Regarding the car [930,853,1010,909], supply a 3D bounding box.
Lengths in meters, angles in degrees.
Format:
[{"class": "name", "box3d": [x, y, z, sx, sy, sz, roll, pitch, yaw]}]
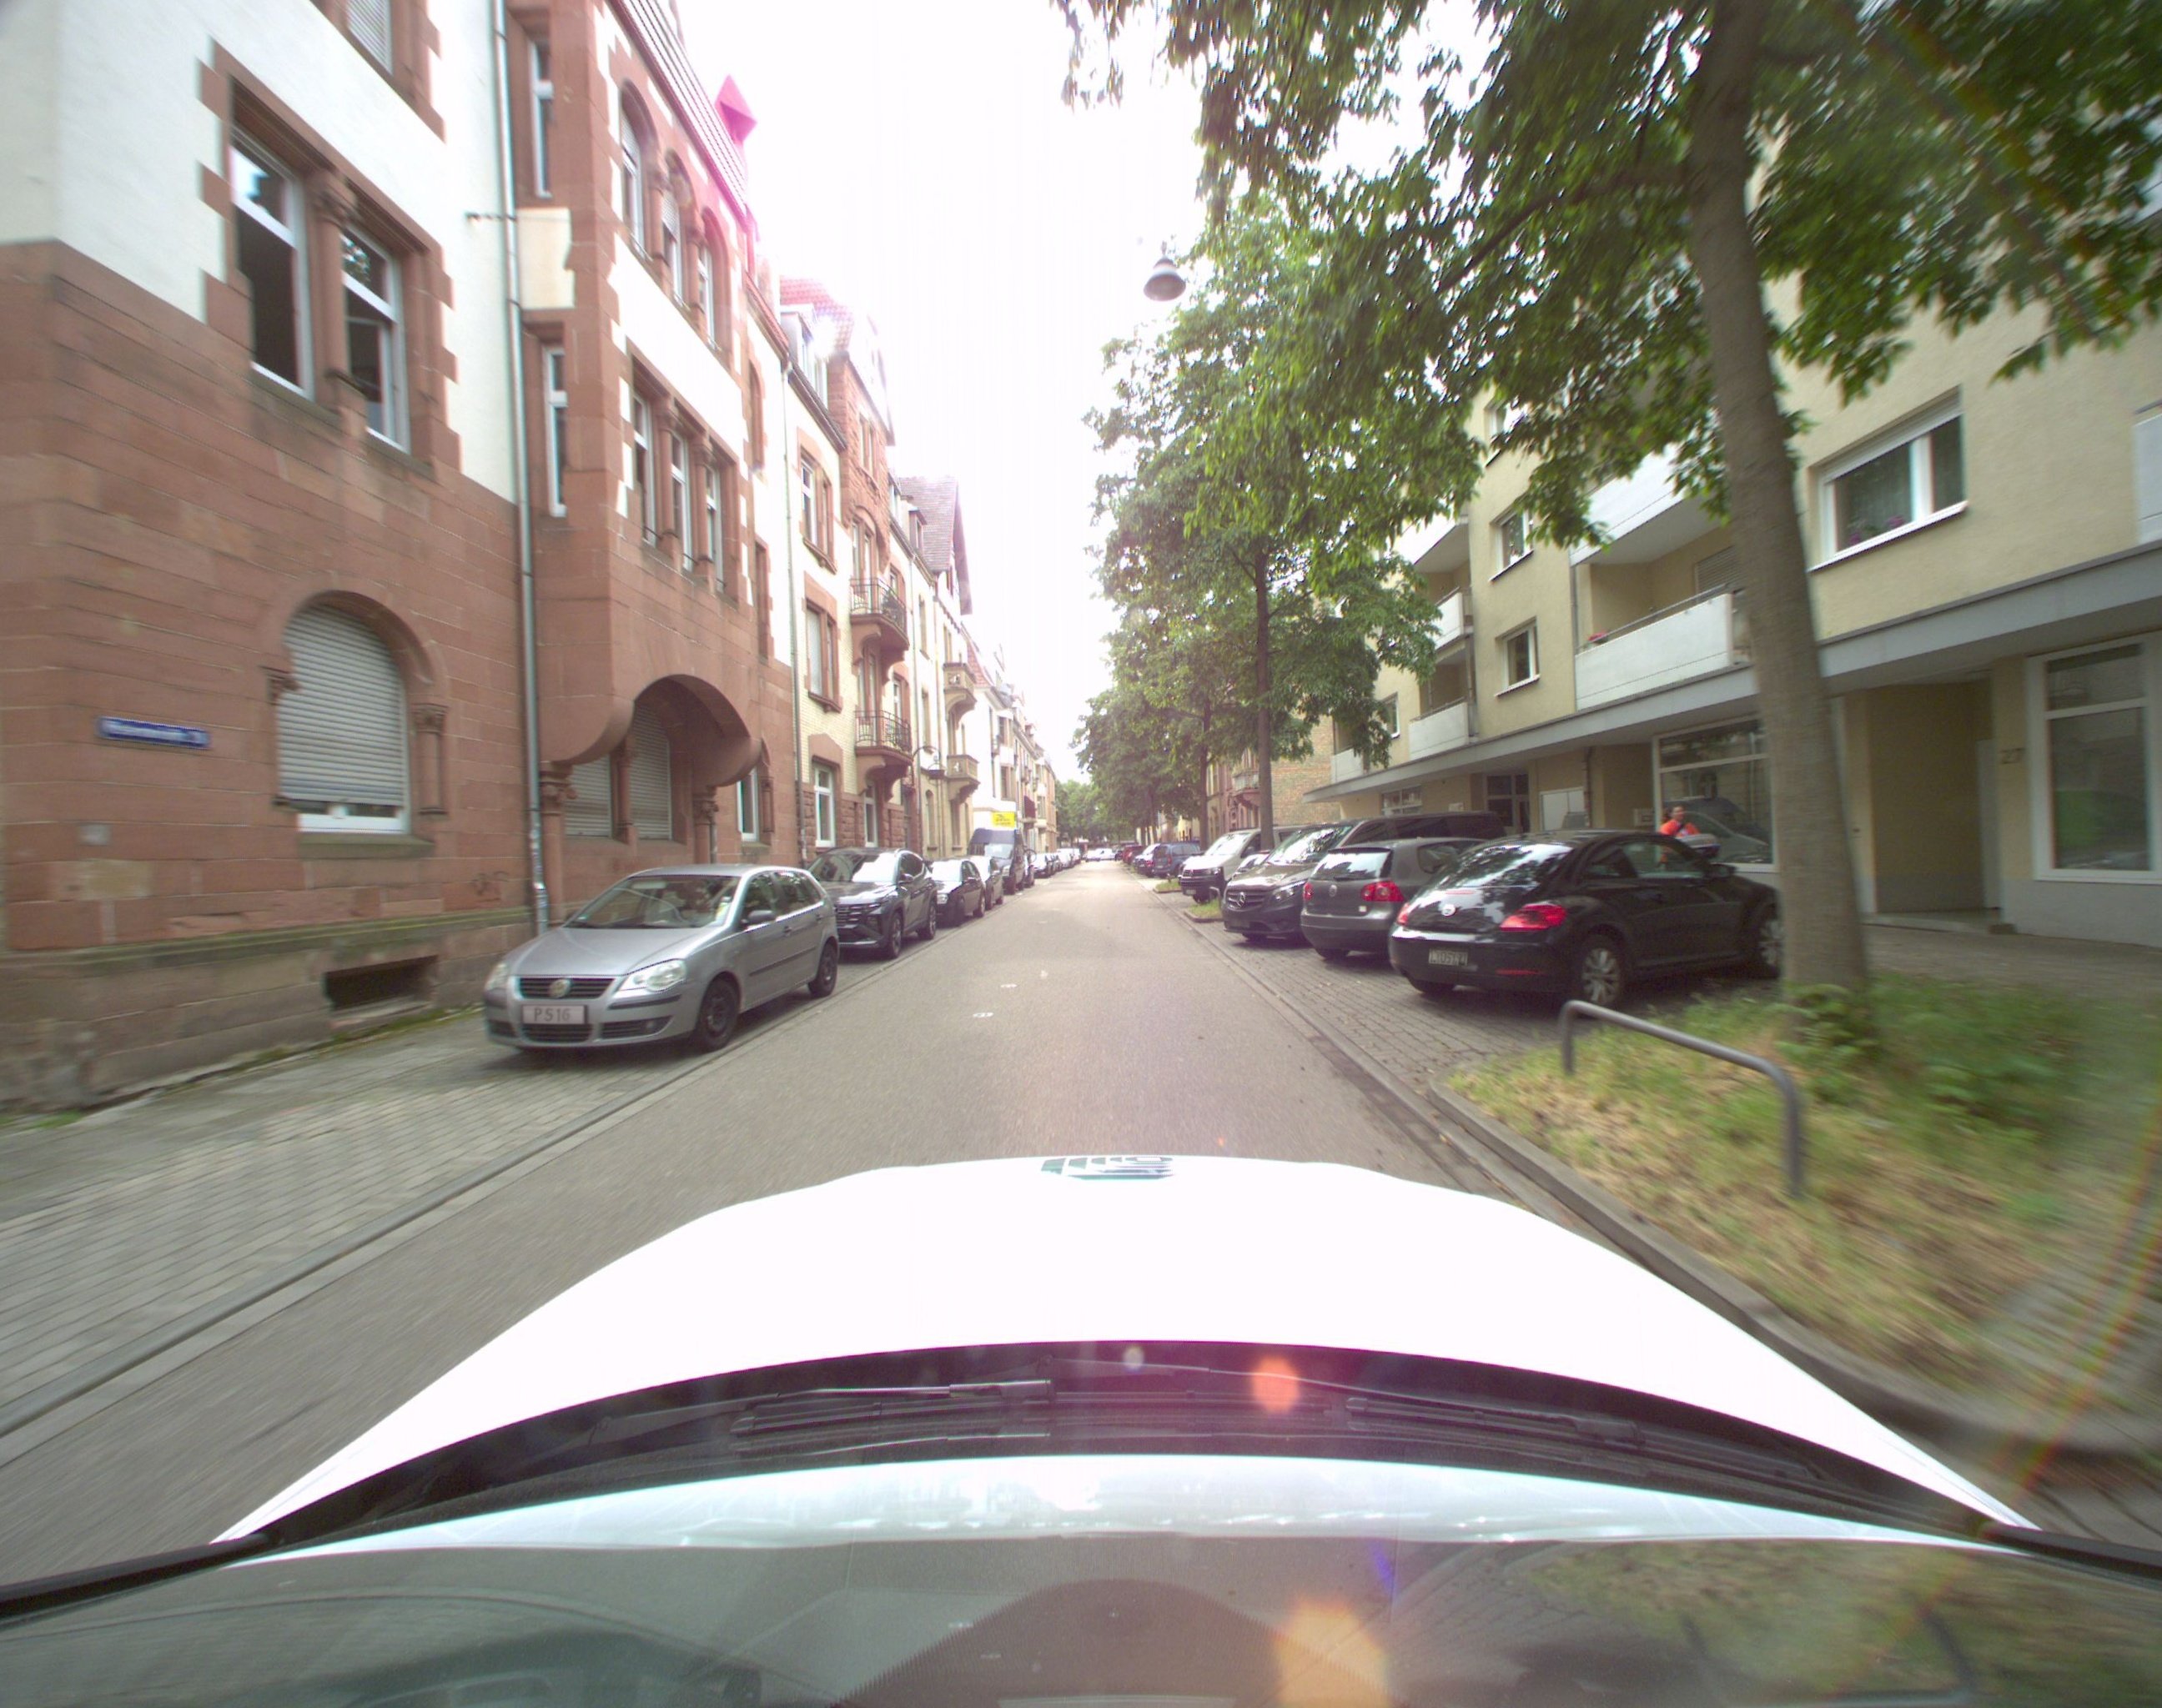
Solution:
[{"class": "car", "box3d": [-3.134, 0.760, 23.695, 1.661, 1.473, 4.001, -1, -1, 2]}]

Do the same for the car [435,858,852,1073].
[{"class": "car", "box3d": [-3.580, 0.782, 7.595, 1.656, 1.420, 3.930, -1, 0, 1]}]

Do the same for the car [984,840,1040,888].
[{"class": "car", "box3d": [-3.163, 0.422, 38.101, 1.986, 2.013, 4.893, -2, 0, 2]}]

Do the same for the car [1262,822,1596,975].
[{"class": "car", "box3d": [4.500, 0.470, 10.506, 3.872, 1.502, 1.895, -4, 0, -28]}]

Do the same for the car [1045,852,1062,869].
[{"class": "car", "box3d": [-2.214, 0.523, 65.263, 1.132, 1.309, 3.261, -2, 0, 1]}]

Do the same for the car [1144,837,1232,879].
[{"class": "car", "box3d": [5.730, 0.221, 43.481, 4.197, 1.869, 1.981, -4, -1, -28]}]

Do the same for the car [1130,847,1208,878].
[{"class": "car", "box3d": [5.028, 0.478, 46.323, 4.035, 1.559, 1.867, -2, 0, -30]}]

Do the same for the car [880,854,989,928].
[{"class": "car", "box3d": [-3.192, 0.747, 18.487, 1.628, 1.473, 4.002, -1, 0, 2]}]

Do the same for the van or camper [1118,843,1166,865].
[{"class": "van or camper", "box3d": [5.985, 0.000, 79.844, 4.169, 2.085, 1.936, -2, 0, -27]}]

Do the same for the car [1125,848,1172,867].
[{"class": "car", "box3d": [5.793, 0.267, 70.057, 3.754, 1.465, 1.727, -2, 0, -4]}]

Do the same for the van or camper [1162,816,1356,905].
[{"class": "van or camper", "box3d": [4.808, 0.165, 21.951, 4.752, 1.994, 1.984, -4, -2, -24]}]

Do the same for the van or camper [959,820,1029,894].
[{"class": "van or camper", "box3d": [-3.310, 0.090, 32.175, 2.000, 2.651, 5.318, -1, 0, 2]}]

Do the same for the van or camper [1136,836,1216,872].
[{"class": "van or camper", "box3d": [6.149, 0.009, 52.487, 4.805, 2.137, 2.036, -2, 0, -30]}]

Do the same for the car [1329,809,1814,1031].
[{"class": "car", "box3d": [4.607, 0.457, 7.651, 4.060, 1.483, 1.931, -4, 0, -25]}]

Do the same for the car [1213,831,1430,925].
[{"class": "car", "box3d": [4.828, 0.419, 16.236, 4.021, 1.444, 1.824, -5, 0, -30]}]

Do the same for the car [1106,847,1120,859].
[{"class": "car", "box3d": [4.926, -0.095, 124.913, 1.986, 1.794, 4.001, -1, -1, 1]}]

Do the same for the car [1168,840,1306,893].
[{"class": "car", "box3d": [5.284, 0.409, 27.492, 4.329, 1.392, 1.905, -5, 0, -30]}]

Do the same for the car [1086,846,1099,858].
[{"class": "car", "box3d": [1.694, -0.270, 118.580, 1.814, 1.645, 3.754, -1, -1, 1]}]

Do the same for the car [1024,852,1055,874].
[{"class": "car", "box3d": [-2.759, 0.561, 55.333, 1.822, 1.426, 3.802, 1, 0, 1]}]

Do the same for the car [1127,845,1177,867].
[{"class": "car", "box3d": [5.665, 0.156, 65.451, 3.754, 1.465, 1.727, -3, 0, -4]}]

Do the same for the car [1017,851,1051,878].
[{"class": "car", "box3d": [-2.817, 0.611, 49.565, 1.783, 1.480, 4.023, -1, 0, 1]}]

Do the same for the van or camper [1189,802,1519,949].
[{"class": "van or camper", "box3d": [4.514, 0.256, 13.348, 5.033, 1.869, 2.108, -4, 0, -26]}]

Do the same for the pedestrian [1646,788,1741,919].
[{"class": "pedestrian", "box3d": [8.629, -0.006, 11.514, 0.622, 1.742, 0.849, -3, 0, 2]}]

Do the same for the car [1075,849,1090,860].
[{"class": "car", "box3d": [0.251, 0.029, 106.729, 1.779, 1.374, 3.889, -2, 0, 2]}]

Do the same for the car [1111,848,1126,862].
[{"class": "car", "box3d": [5.313, 0.164, 116.806, 1.986, 2.013, 4.001, 1, 0, 1]}]

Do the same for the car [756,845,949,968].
[{"class": "car", "box3d": [-3.466, 0.696, 13.266, 1.780, 1.646, 4.363, -1, 0, 1]}]

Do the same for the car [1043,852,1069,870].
[{"class": "car", "box3d": [-2.222, 0.610, 72.763, 1.986, 1.475, 4.002, -2, 0, 2]}]
